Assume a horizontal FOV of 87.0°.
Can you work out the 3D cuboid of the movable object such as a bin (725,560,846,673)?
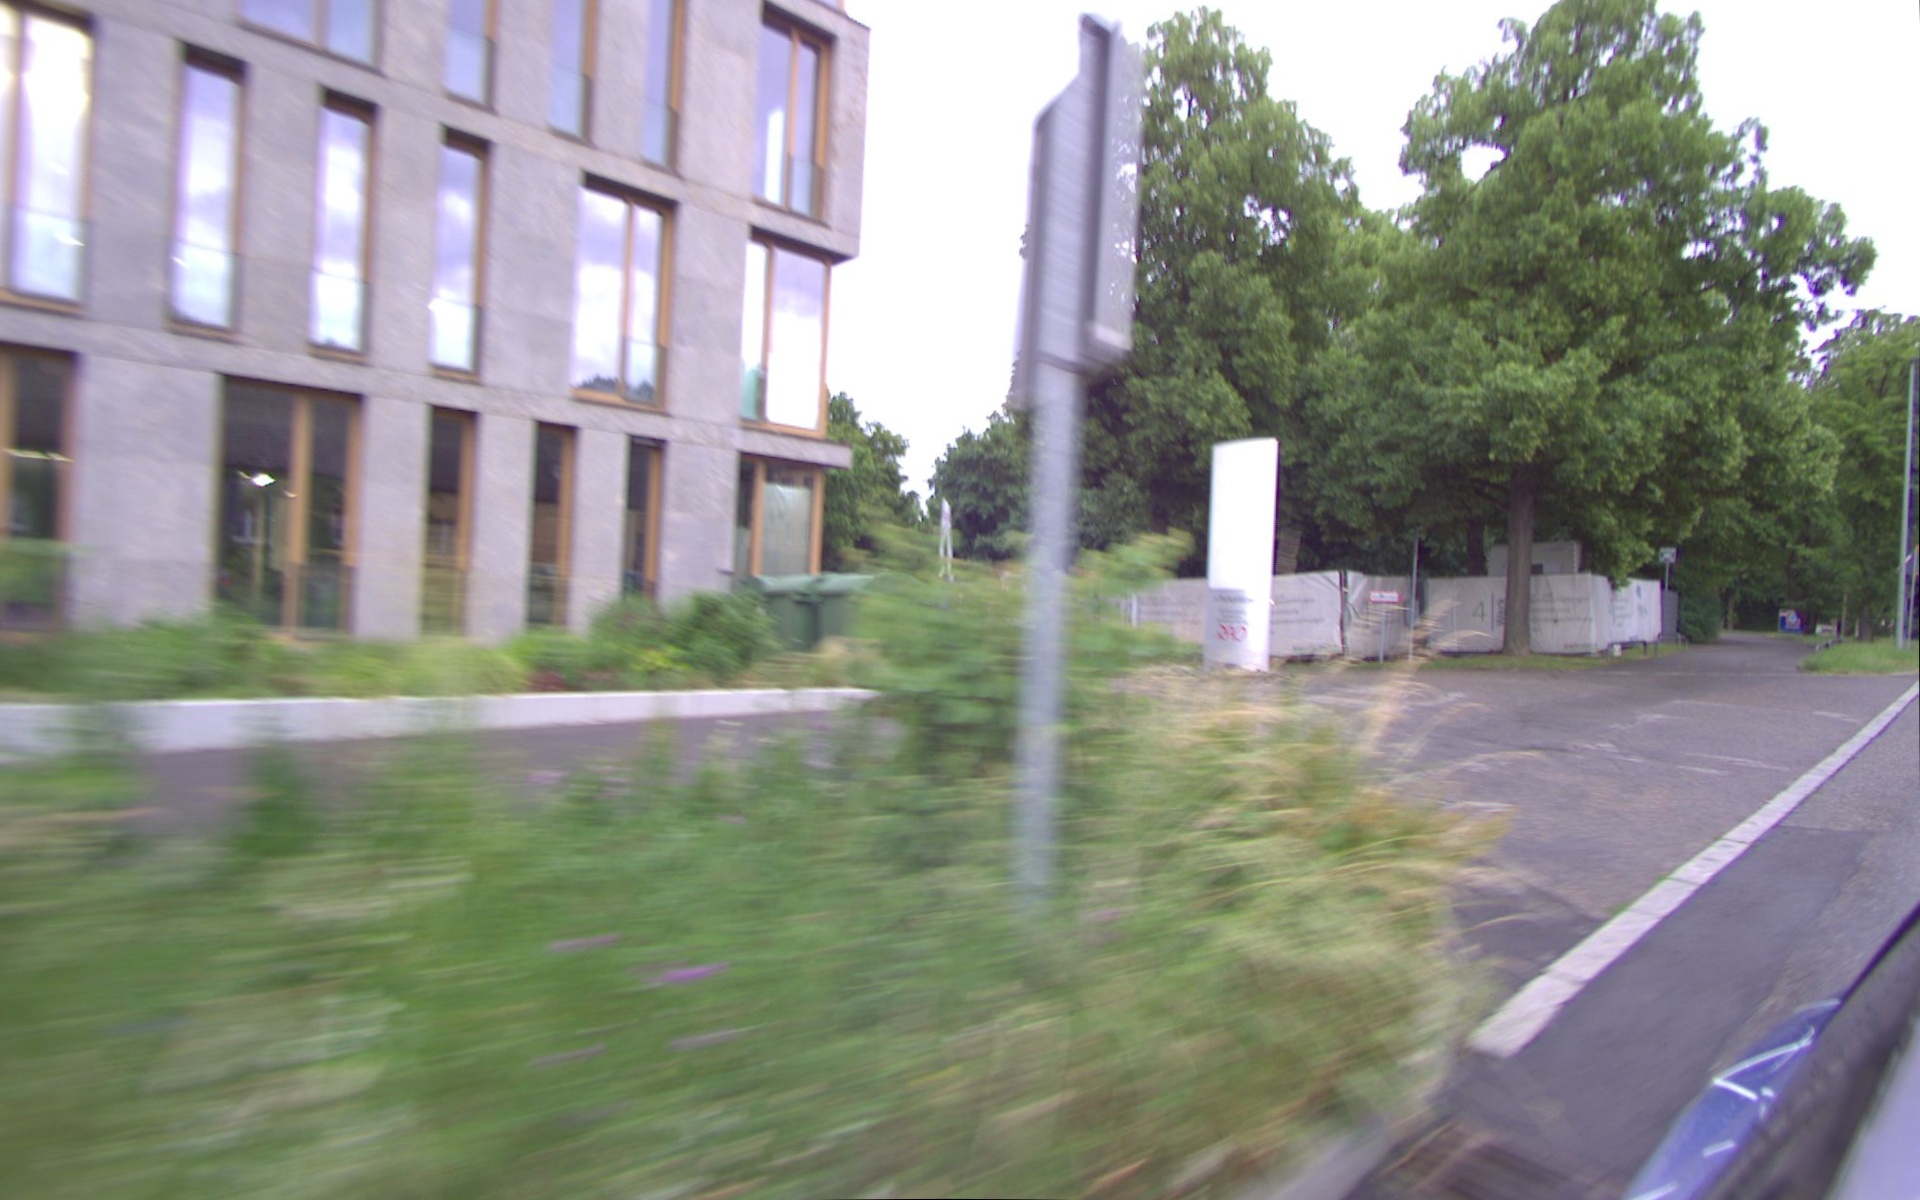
[{"bbox_3d":[-2.526,0.212,14.615,1.361,1.523,1.200,0,1,-33],"label":"movable object such as a bin"}]

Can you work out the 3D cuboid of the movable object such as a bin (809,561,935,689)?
[{"bbox_3d":[-1.099,0.302,12.451,1.089,1.477,1.251,0,-2,-31],"label":"movable object such as a bin"}]

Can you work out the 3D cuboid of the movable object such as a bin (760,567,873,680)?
[{"bbox_3d":[-1.926,0.307,13.475,1.127,1.417,1.101,0,-2,-32],"label":"movable object such as a bin"}]

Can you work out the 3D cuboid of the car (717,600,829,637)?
[{"bbox_3d":[-7.220,0.674,39.330,4.053,1.308,1.628,0,1,-43],"label":"car"}]
